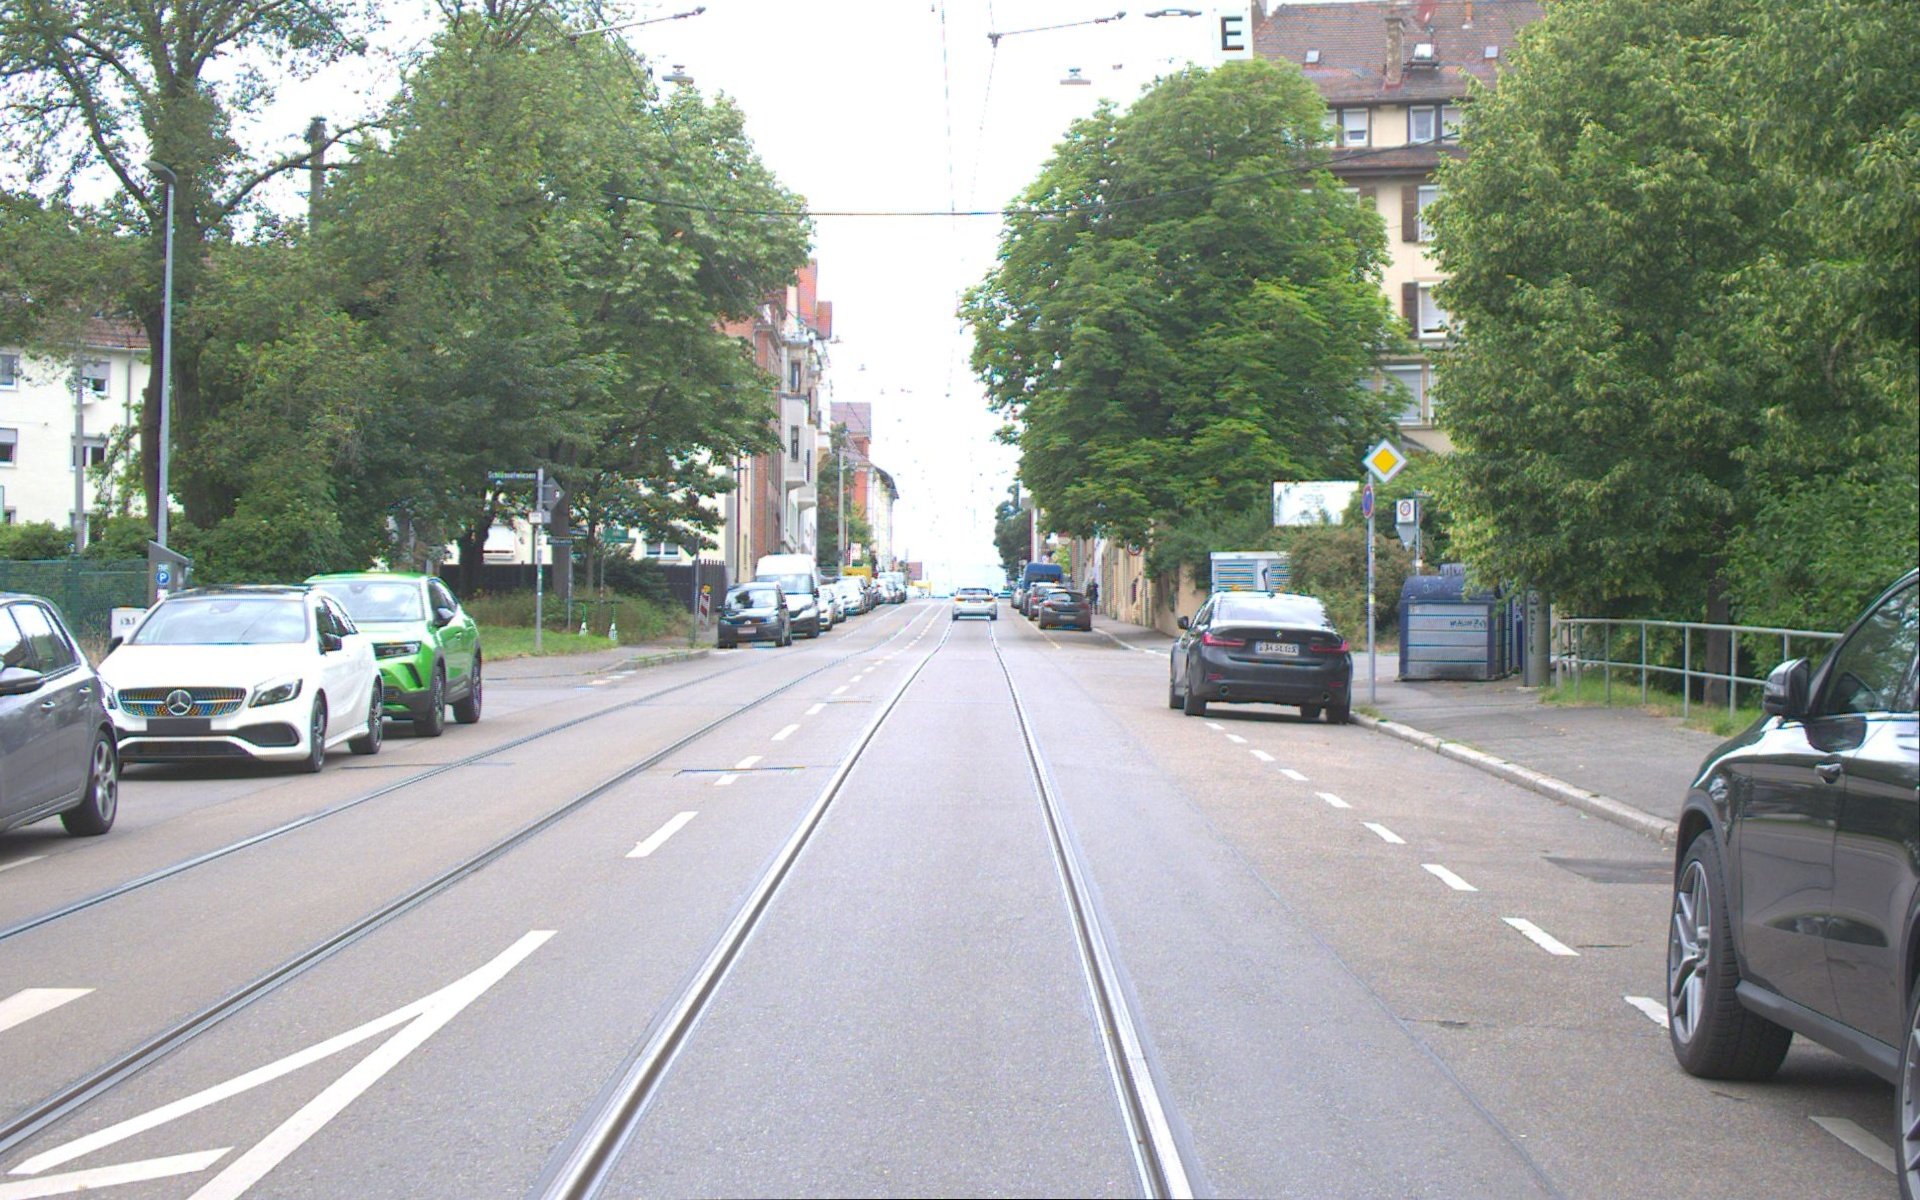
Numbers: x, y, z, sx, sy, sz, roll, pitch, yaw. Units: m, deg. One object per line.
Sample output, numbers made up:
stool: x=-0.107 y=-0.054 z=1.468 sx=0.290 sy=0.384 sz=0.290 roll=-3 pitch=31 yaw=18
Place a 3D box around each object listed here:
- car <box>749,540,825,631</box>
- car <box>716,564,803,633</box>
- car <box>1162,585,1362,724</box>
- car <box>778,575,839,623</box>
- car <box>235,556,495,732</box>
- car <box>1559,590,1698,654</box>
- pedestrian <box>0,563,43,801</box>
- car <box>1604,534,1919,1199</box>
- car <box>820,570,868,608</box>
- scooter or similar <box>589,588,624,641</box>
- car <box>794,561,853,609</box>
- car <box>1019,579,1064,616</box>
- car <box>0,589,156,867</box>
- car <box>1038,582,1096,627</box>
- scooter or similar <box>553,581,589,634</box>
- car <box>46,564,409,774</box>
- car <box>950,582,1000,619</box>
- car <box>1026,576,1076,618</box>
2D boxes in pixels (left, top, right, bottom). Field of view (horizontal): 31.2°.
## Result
car: x=-5.426 y=-0.431 z=108.307 sx=2.230 sy=2.755 sz=5.800 roll=1 pitch=0 yaw=-2
car: x=-5.439 y=-0.020 z=93.813 sx=1.993 sy=1.802 sz=4.000 roll=1 pitch=0 yaw=2
car: x=3.408 y=0.590 z=39.601 sx=1.828 sy=1.425 sz=4.847 roll=3 pitch=0 yaw=0
car: x=-5.212 y=-0.028 z=118.619 sx=1.993 sy=1.595 sz=4.312 roll=1 pitch=0 yaw=-2
car: x=-5.652 y=0.387 z=33.095 sx=1.723 sy=1.574 sz=4.181 roll=0 pitch=0 yaw=1
car: x=16.289 y=0.542 z=83.643 sx=1.997 sy=1.474 sz=4.456 roll=1 pitch=0 yaw=29
pedestrian: x=-6.911 y=0.556 z=23.751 sx=0.805 sy=1.623 sz=0.916 roll=1 pitch=-1 yaw=-36
car: x=3.147 y=0.716 z=9.233 sx=1.877 sy=1.672 sz=5.063 roll=3 pitch=1 yaw=1
car: x=-5.109 y=-0.473 z=152.142 sx=1.924 sy=1.596 sz=4.000 roll=1 pitch=0 yaw=1
scooter or similar: x=-9.137 y=0.381 z=88.908 sx=0.691 sy=1.334 sz=1.639 roll=1 pitch=0 yaw=1
car: x=-5.350 y=-0.563 z=135.573 sx=1.993 sy=1.806 sz=4.312 roll=1 pitch=0 yaw=2
car: x=3.703 y=-0.107 z=155.883 sx=1.993 sy=1.645 sz=4.000 roll=0 pitch=0 yaw=1
car: x=-5.970 y=0.680 z=19.162 sx=1.896 sy=1.428 sz=4.511 roll=-1 pitch=1 yaw=0
car: x=3.799 y=0.177 z=122.718 sx=1.993 sy=1.525 sz=4.312 roll=1 pitch=0 yaw=2
scooter or similar: x=-10.084 y=0.196 z=89.100 sx=0.691 sy=1.334 sz=1.639 roll=1 pitch=0 yaw=1
car: x=-5.747 y=0.503 z=27.552 sx=1.885 sy=1.521 sz=4.663 roll=-1 pitch=0 yaw=0
car: x=0.610 y=0.031 z=141.651 sx=1.993 sy=1.493 sz=4.312 roll=1 pitch=0 yaw=0
car: x=3.781 y=-0.130 z=143.319 sx=1.993 sy=1.711 sz=4.000 roll=0 pitch=0 yaw=1
